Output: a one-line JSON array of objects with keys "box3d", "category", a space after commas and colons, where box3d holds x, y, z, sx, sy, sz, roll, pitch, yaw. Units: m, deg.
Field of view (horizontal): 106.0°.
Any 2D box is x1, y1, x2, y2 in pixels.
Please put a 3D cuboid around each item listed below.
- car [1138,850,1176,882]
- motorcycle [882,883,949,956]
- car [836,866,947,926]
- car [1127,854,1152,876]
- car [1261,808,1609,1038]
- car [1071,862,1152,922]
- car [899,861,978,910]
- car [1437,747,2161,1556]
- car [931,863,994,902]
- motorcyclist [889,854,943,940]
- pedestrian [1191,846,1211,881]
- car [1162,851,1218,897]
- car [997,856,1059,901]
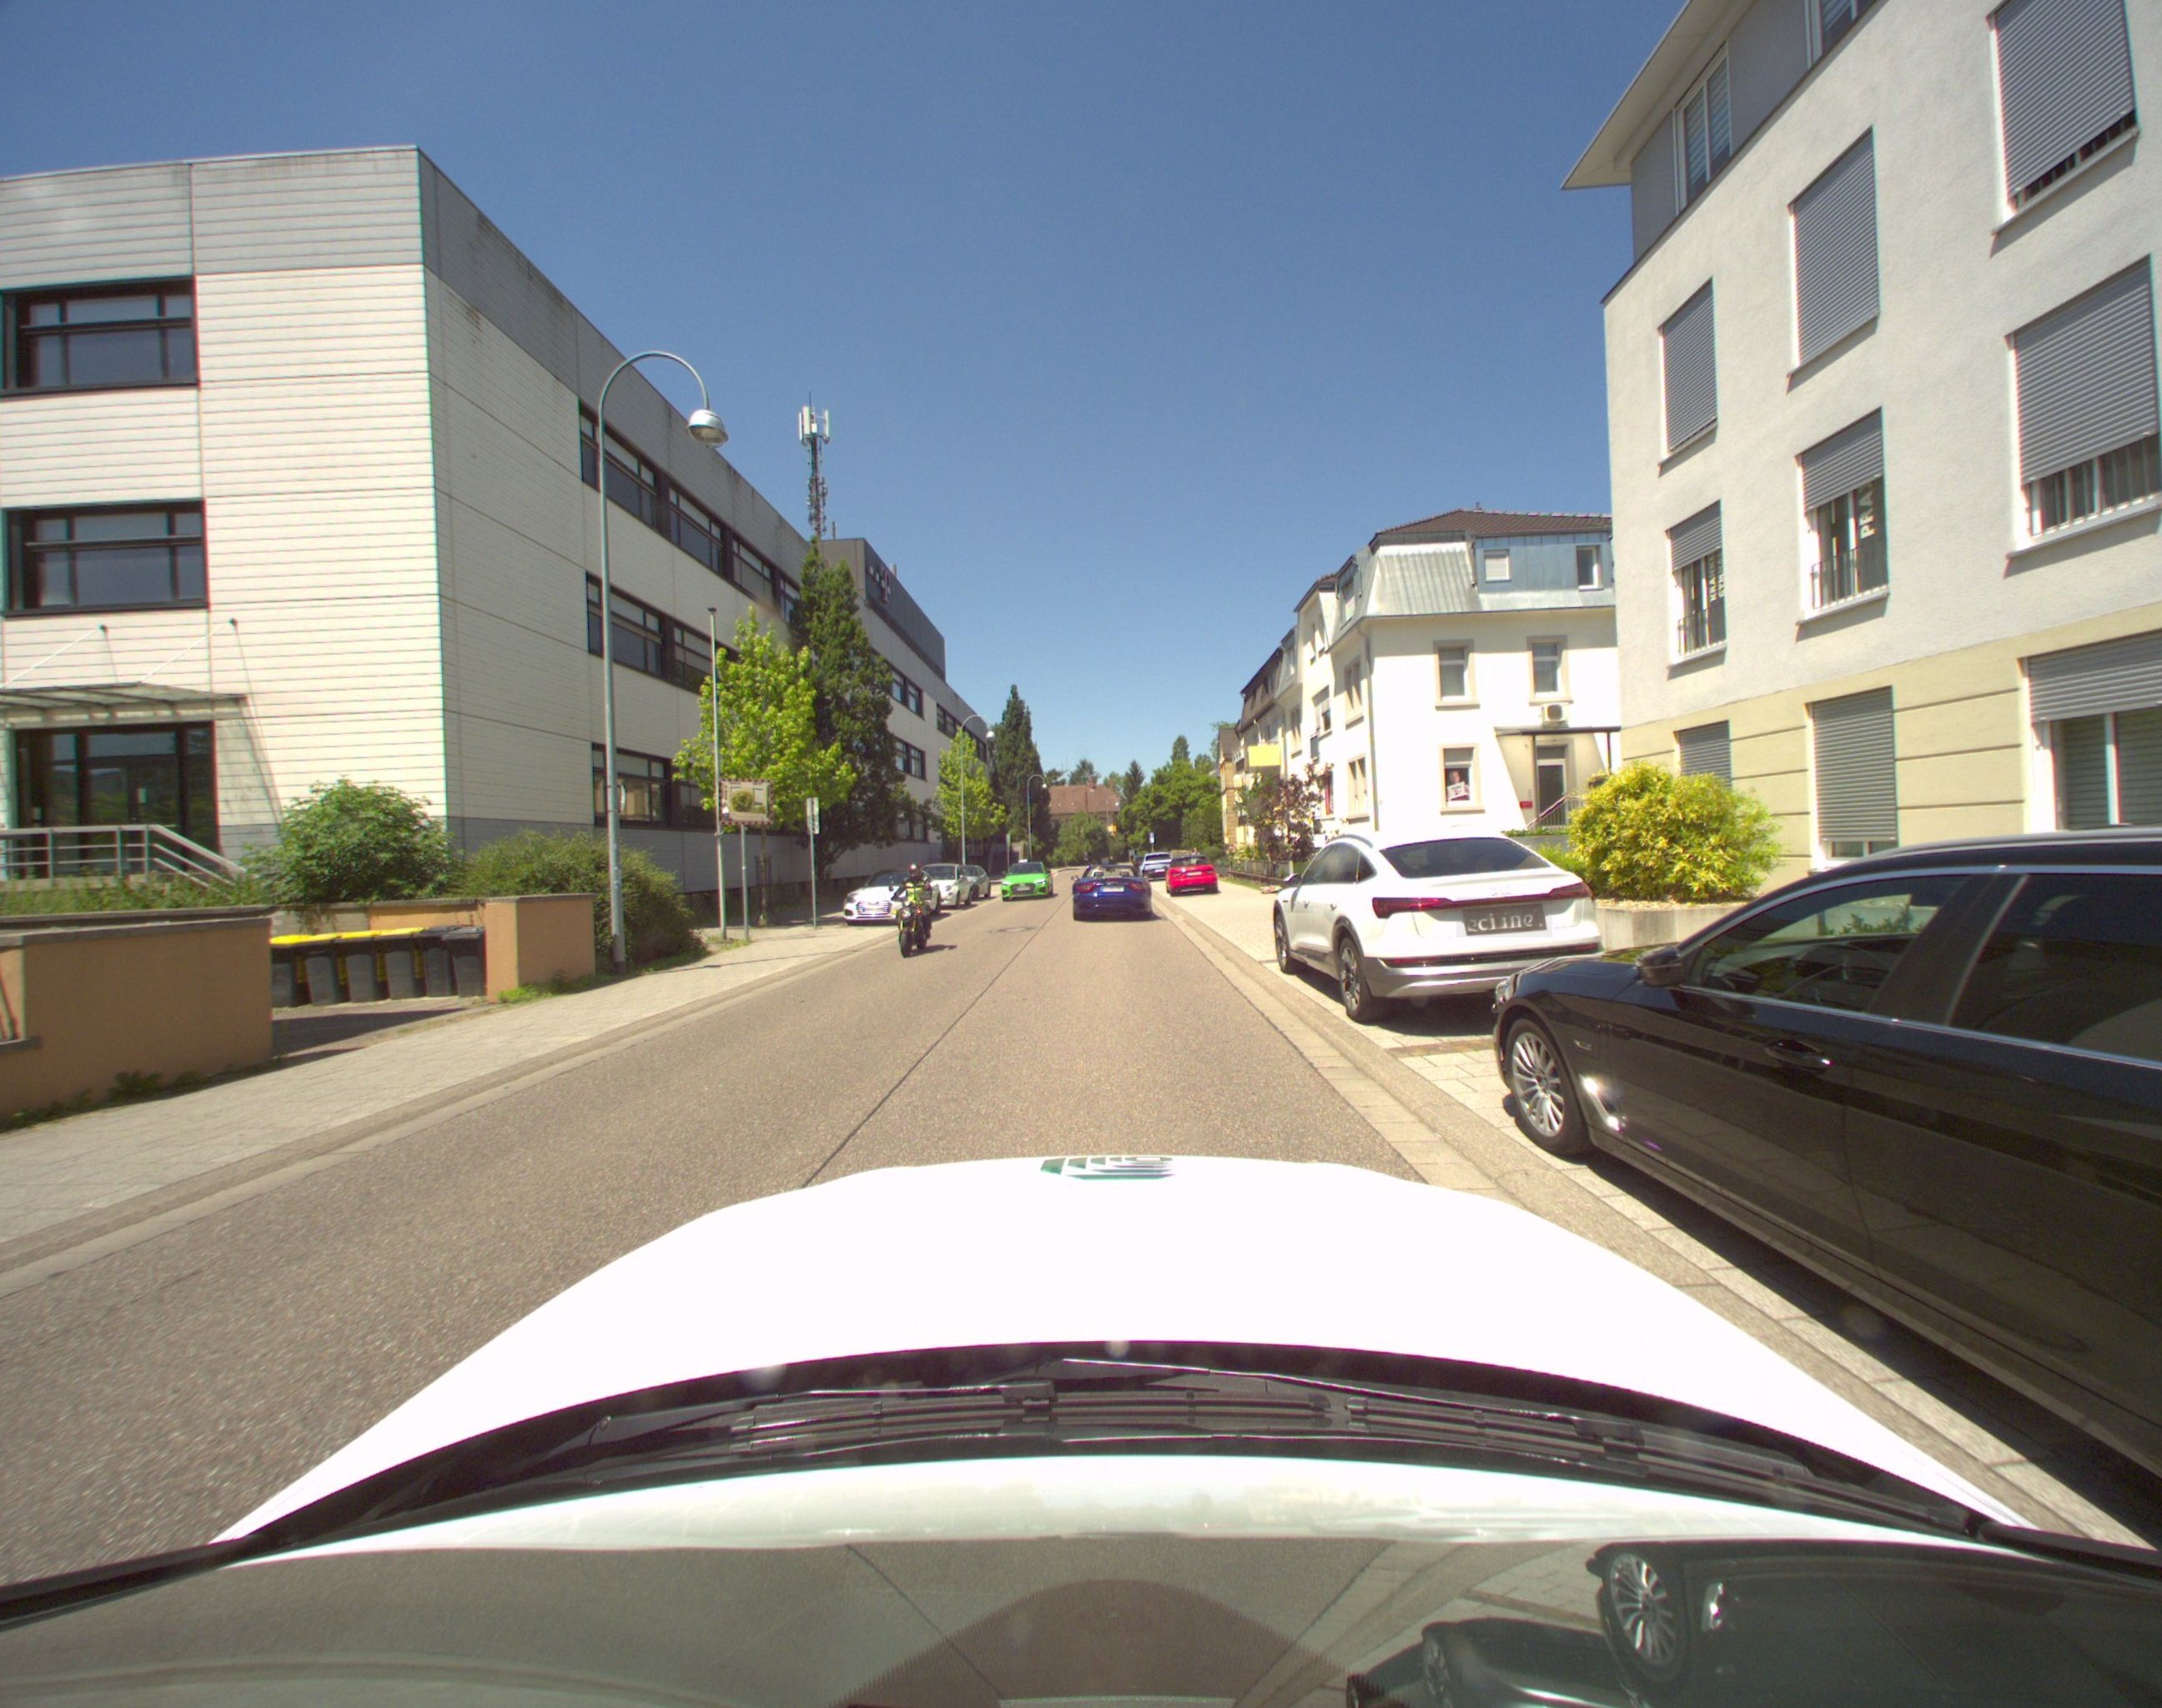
[{"box3d": [4.325, 0.685, 46.932, 1.836, 1.619, 4.430, -4, 0, 2], "category": "car"}, {"box3d": [-2.877, 1.122, 14.356, 0.696, 1.107, 1.791, -4, -1, 2], "category": "motorcycle"}, {"box3d": [-5.103, 1.082, 22.592, 1.815, 1.411, 4.579, -1, 0, 2], "category": "car"}, {"box3d": [4.376, 0.814, 61.392, 1.625, 1.446, 4.399, -5, 0, 2], "category": "car"}, {"box3d": [3.167, 0.525, 8.418, 1.698, 1.666, 4.582, -2, 0, 2], "category": "car"}, {"box3d": [0.772, 0.895, 20.952, 1.820, 1.337, 4.702, -1, -1, 2], "category": "car"}, {"box3d": [-4.845, 1.037, 28.339, 1.815, 1.512, 4.291, -2, 0, 2], "category": "car"}, {"box3d": [2.903, 0.512, 2.375, 1.698, 1.556, 4.750, -5, 0, 2], "category": "car"}, {"box3d": [-4.762, 1.123, 33.133, 1.741, 1.409, 3.936, -2, 0, 3], "category": "car"}, {"box3d": [-2.892, 0.740, 14.288, 0.696, 1.433, 0.707, -4, -1, 2], "category": "motorcyclist"}, {"box3d": [5.895, 0.454, 40.131, 0.738, 1.669, 0.706, -5, 0, 0], "category": "pedestrian"}, {"box3d": [3.944, 0.692, 29.970, 1.597, 1.440, 3.856, -5, 0, 3], "category": "car"}, {"box3d": [-2.037, 0.922, 32.353, 1.814, 1.588, 4.105, -4, -1, 4], "category": "car"}]
